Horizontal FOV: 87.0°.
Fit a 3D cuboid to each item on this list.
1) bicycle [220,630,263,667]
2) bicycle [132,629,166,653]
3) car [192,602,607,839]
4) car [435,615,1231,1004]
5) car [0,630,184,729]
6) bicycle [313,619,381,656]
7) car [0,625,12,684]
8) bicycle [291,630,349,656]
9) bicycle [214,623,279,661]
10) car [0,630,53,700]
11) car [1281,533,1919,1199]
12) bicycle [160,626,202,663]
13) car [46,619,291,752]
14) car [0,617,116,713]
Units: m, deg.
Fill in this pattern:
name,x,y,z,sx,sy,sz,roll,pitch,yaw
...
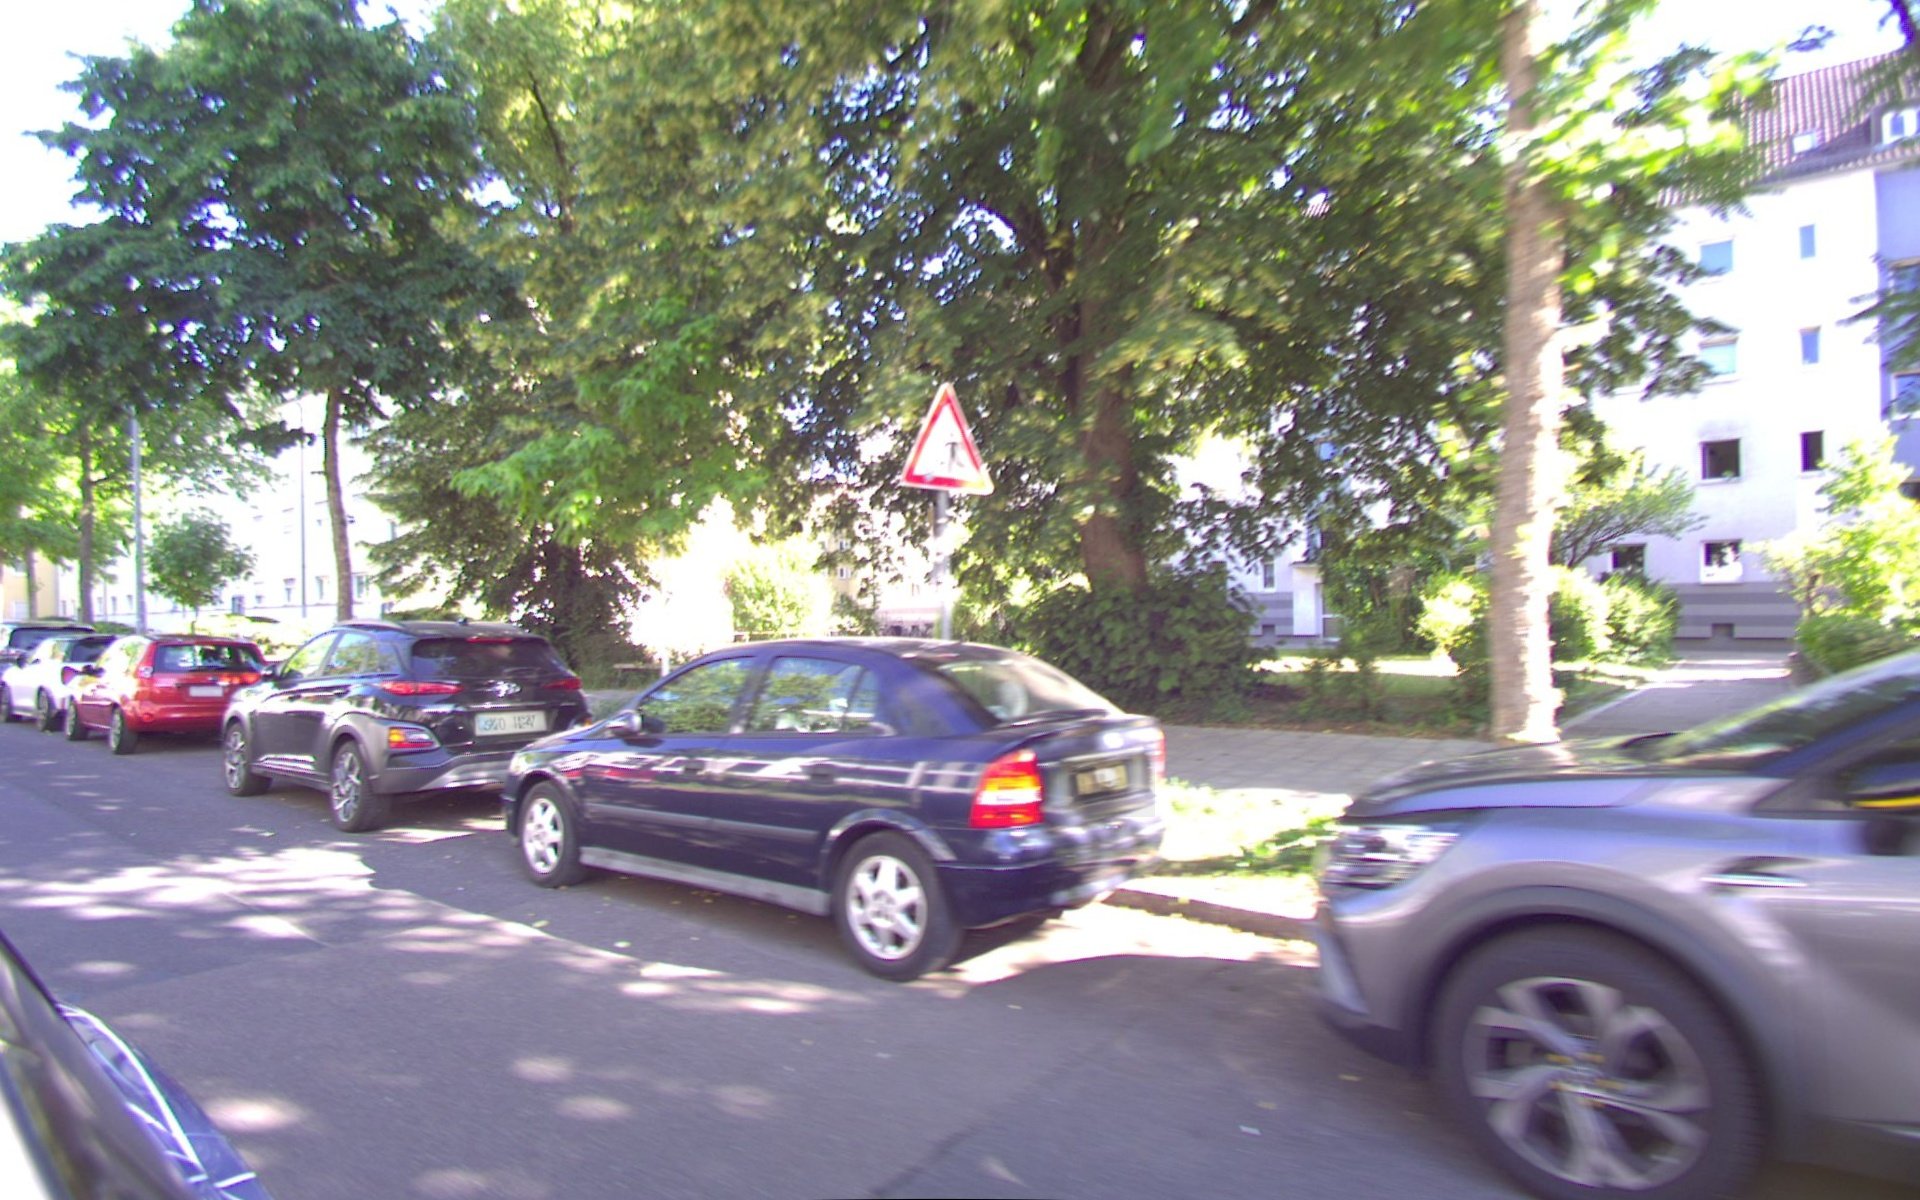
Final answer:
name,x,y,z,sx,sy,sz,roll,pitch,yaw
bicycle,-21.629,1.451,30.451,1.931,1.069,0.566,-1,0,40
bicycle,-31.175,1.569,38.902,1.900,0.923,0.589,-2,-2,38
car,-5.073,0.862,8.869,4.477,1.589,1.689,-2,-2,40
car,-0.975,0.802,5.657,4.474,1.363,1.768,-2,-1,37
car,-14.195,1.204,16.349,4.183,1.384,1.638,-2,-2,38
bicycle,-21.997,1.346,36.363,0.775,1.235,1.935,-1,0,36
car,-26.245,1.417,26.238,4.483,1.463,1.776,-2,-2,38
bicycle,-23.532,1.578,37.213,0.584,0.876,1.692,-1,0,39
bicycle,-25.051,1.446,35.552,0.517,1.235,1.803,-2,0,39
car,-22.348,1.445,23.074,4.483,1.492,1.690,-2,-2,38
car,3.191,0.607,2.187,4.415,1.543,1.751,-2,-1,40
bicycle,-26.741,1.515,34.707,2.257,1.199,0.589,-2,-2,38
car,-10.652,1.045,13.536,4.062,1.516,1.638,-2,-2,38
car,-18.260,1.195,19.711,5.081,1.669,1.824,-2,-2,39
